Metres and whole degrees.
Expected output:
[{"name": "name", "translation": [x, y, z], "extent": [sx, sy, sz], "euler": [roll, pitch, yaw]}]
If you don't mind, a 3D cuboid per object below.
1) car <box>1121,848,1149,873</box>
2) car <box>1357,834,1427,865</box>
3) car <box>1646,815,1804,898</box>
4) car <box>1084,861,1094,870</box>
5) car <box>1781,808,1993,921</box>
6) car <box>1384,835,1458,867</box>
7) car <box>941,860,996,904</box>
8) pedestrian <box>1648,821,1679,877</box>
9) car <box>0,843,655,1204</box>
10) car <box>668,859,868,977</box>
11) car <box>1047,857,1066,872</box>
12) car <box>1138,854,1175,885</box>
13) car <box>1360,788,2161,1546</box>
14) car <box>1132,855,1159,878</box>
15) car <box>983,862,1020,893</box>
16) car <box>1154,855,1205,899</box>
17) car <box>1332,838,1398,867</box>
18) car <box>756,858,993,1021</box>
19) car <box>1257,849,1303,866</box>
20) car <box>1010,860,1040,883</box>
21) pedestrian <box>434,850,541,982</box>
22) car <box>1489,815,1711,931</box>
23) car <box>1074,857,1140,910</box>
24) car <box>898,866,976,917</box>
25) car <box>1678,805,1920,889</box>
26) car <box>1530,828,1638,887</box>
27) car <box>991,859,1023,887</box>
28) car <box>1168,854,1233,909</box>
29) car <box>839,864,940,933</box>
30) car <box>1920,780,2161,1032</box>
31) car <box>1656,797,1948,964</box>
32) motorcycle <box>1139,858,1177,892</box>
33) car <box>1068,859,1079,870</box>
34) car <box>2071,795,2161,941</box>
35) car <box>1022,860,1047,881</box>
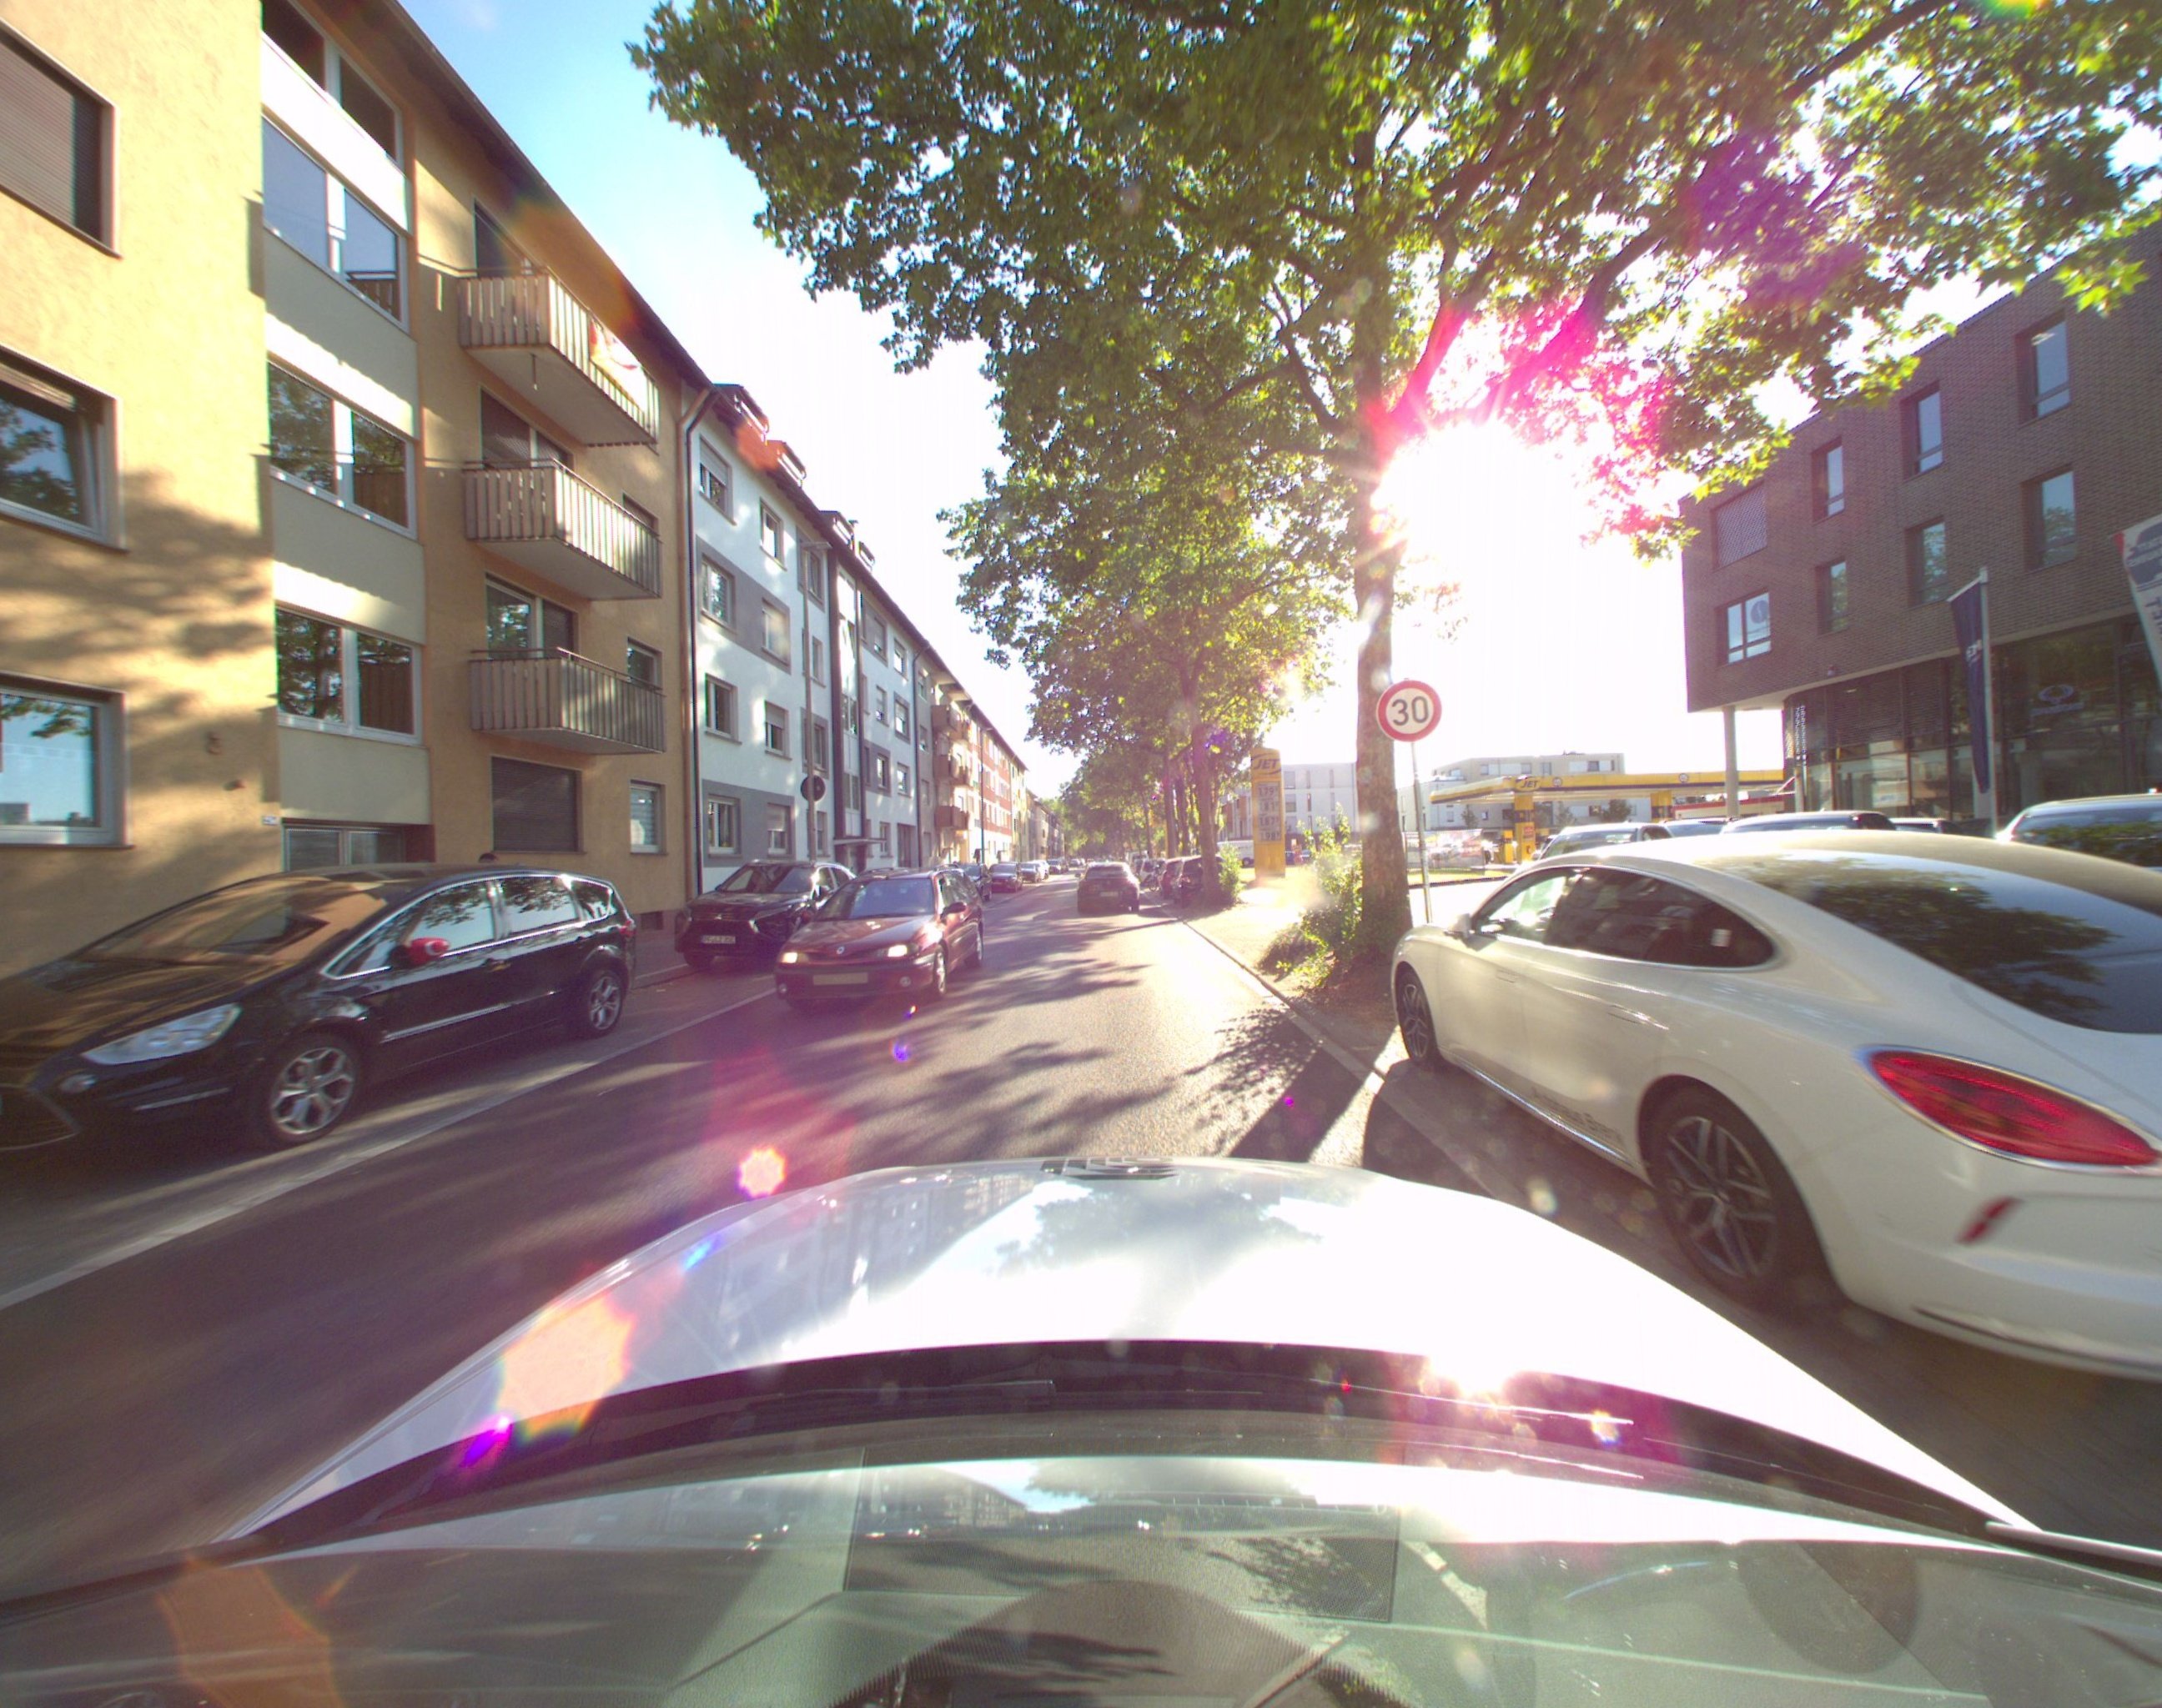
[{"name": "car", "translation": [4.585, 0.574, 69.898], "extent": [1.988, 2.014, 3.997], "euler": [-1, -2, -1]}, {"name": "car", "translation": [19.281, -0.260, 50.467], "extent": [3.845, 1.712, 1.825], "euler": [-3, -1, -26]}, {"name": "car", "translation": [13.999, 0.018, 17.628], "extent": [4.165, 1.602, 1.752], "euler": [-2, -1, -39]}, {"name": "car", "translation": [1.719, 2.374, 166.973], "extent": [1.895, 1.661, 4.000], "euler": [-1, -2, 1]}, {"name": "car", "translation": [12.943, 0.107, 13.025], "extent": [3.835, 1.511, 1.626], "euler": [-3, 0, -34]}, {"name": "car", "translation": [19.235, -0.185, 46.030], "extent": [3.845, 1.588, 1.684], "euler": [-3, -1, -26]}, {"name": "car", "translation": [-4.434, 1.074, 32.529], "extent": [1.591, 1.630, 3.838], "euler": [0, 0, 1]}, {"name": "pedestrian", "translation": [17.742, -0.157, 24.795], "extent": [0.653, 1.677, 0.550], "euler": [-2, -1, -40]}, {"name": "car", "translation": [-5.417, 0.853, 6.329], "extent": [1.739, 1.787, 4.550], "euler": [0, 0, 1]}, {"name": "car", "translation": [-5.002, 0.913, 13.721], "extent": [1.591, 1.641, 4.413], "euler": [0, 0, 1]}, {"name": "car", "translation": [-2.612, 1.124, 88.255], "extent": [1.706, 1.562, 3.803], "euler": [2, 0, 2]}, {"name": "car", "translation": [4.096, 0.827, 44.797], "extent": [1.716, 1.557, 3.601], "euler": [-3, 0, 1]}, {"name": "car", "translation": [2.998, 0.628, 3.972], "extent": [1.803, 1.539, 4.586], "euler": [-5, -1, 3]}, {"name": "car", "translation": [4.442, 0.856, 56.684], "extent": [1.627, 1.557, 3.601], "euler": [0, -1, 1]}, {"name": "car", "translation": [-4.143, 1.185, 42.766], "extent": [1.708, 1.464, 3.793], "euler": [2, 0, -3]}, {"name": "car", "translation": [3.736, 0.862, 31.388], "extent": [1.554, 1.596, 3.601], "euler": [0, -1, 1]}, {"name": "car", "translation": [19.271, -0.098, 55.298], "extent": [3.834, 1.712, 1.830], "euler": [-3, -1, -17]}, {"name": "car", "translation": [-2.310, 0.867, 10.347], "extent": [1.657, 1.523, 4.414], "euler": [-3, 0, 2]}, {"name": "car", "translation": [18.855, 0.356, 77.281], "extent": [3.974, 1.529, 1.807], "euler": [-1, -2, 0]}, {"name": "car", "translation": [-3.978, 1.238, 58.504], "extent": [1.706, 1.562, 3.803], "euler": [2, 0, 2]}, {"name": "pedestrian", "translation": [-8.320, 0.838, 11.458], "extent": [0.763, 1.769, 0.933], "euler": [1, -1, 1]}, {"name": "car", "translation": [8.616, 0.236, 13.425], "extent": [3.836, 1.578, 1.727], "euler": [-3, 0, -36]}, {"name": "car", "translation": [0.858, 0.827, 24.624], "extent": [1.736, 1.443, 3.974], "euler": [-1, 0, 5]}, {"name": "car", "translation": [-4.456, 1.115, 25.766], "extent": [1.590, 1.434, 4.219], "euler": [0, 0, 2]}, {"name": "car", "translation": [16.758, -0.105, 19.177], "extent": [1.875, 1.752, 3.954], "euler": [-2, -1, -39]}, {"name": "car", "translation": [16.348, 0.078, 26.393], "extent": [2.134, 1.719, 4.024], "euler": [-3, -1, 43]}, {"name": "car", "translation": [-4.479, 1.136, 49.786], "extent": [1.708, 1.562, 3.793], "euler": [2, 0, -3]}, {"name": "car", "translation": [3.646, 0.814, 25.330], "extent": [1.554, 1.596, 3.601], "euler": [0, -1, 1]}, {"name": "car", "translation": [-4.752, 1.052, 20.718], "extent": [1.542, 1.523, 4.005], "euler": [0, 0, 1]}, {"name": "car", "translation": [8.370, 0.247, 6.426], "extent": [3.835, 1.609, 1.723], "euler": [-3, 0, -34]}, {"name": "car", "translation": [8.580, 0.198, 9.611], "extent": [3.836, 1.578, 1.722], "euler": [-3, 0, -36]}, {"name": "motorcycle", "translation": [3.525, 0.947, 37.453], "extent": [1.647, 1.557, 0.607], "euler": [0, -1, -20]}, {"name": "car", "translation": [-1.335, 1.924, 154.317], "extent": [1.900, 1.948, 4.000], "euler": [-1, -2, 1]}, {"name": "car", "translation": [12.956, 0.055, 9.337], "extent": [3.835, 1.511, 1.626], "euler": [-3, 0, -34]}, {"name": "car", "translation": [-3.773, 1.333, 66.644], "extent": [1.706, 1.562, 3.803], "euler": [2, 0, 2]}]
